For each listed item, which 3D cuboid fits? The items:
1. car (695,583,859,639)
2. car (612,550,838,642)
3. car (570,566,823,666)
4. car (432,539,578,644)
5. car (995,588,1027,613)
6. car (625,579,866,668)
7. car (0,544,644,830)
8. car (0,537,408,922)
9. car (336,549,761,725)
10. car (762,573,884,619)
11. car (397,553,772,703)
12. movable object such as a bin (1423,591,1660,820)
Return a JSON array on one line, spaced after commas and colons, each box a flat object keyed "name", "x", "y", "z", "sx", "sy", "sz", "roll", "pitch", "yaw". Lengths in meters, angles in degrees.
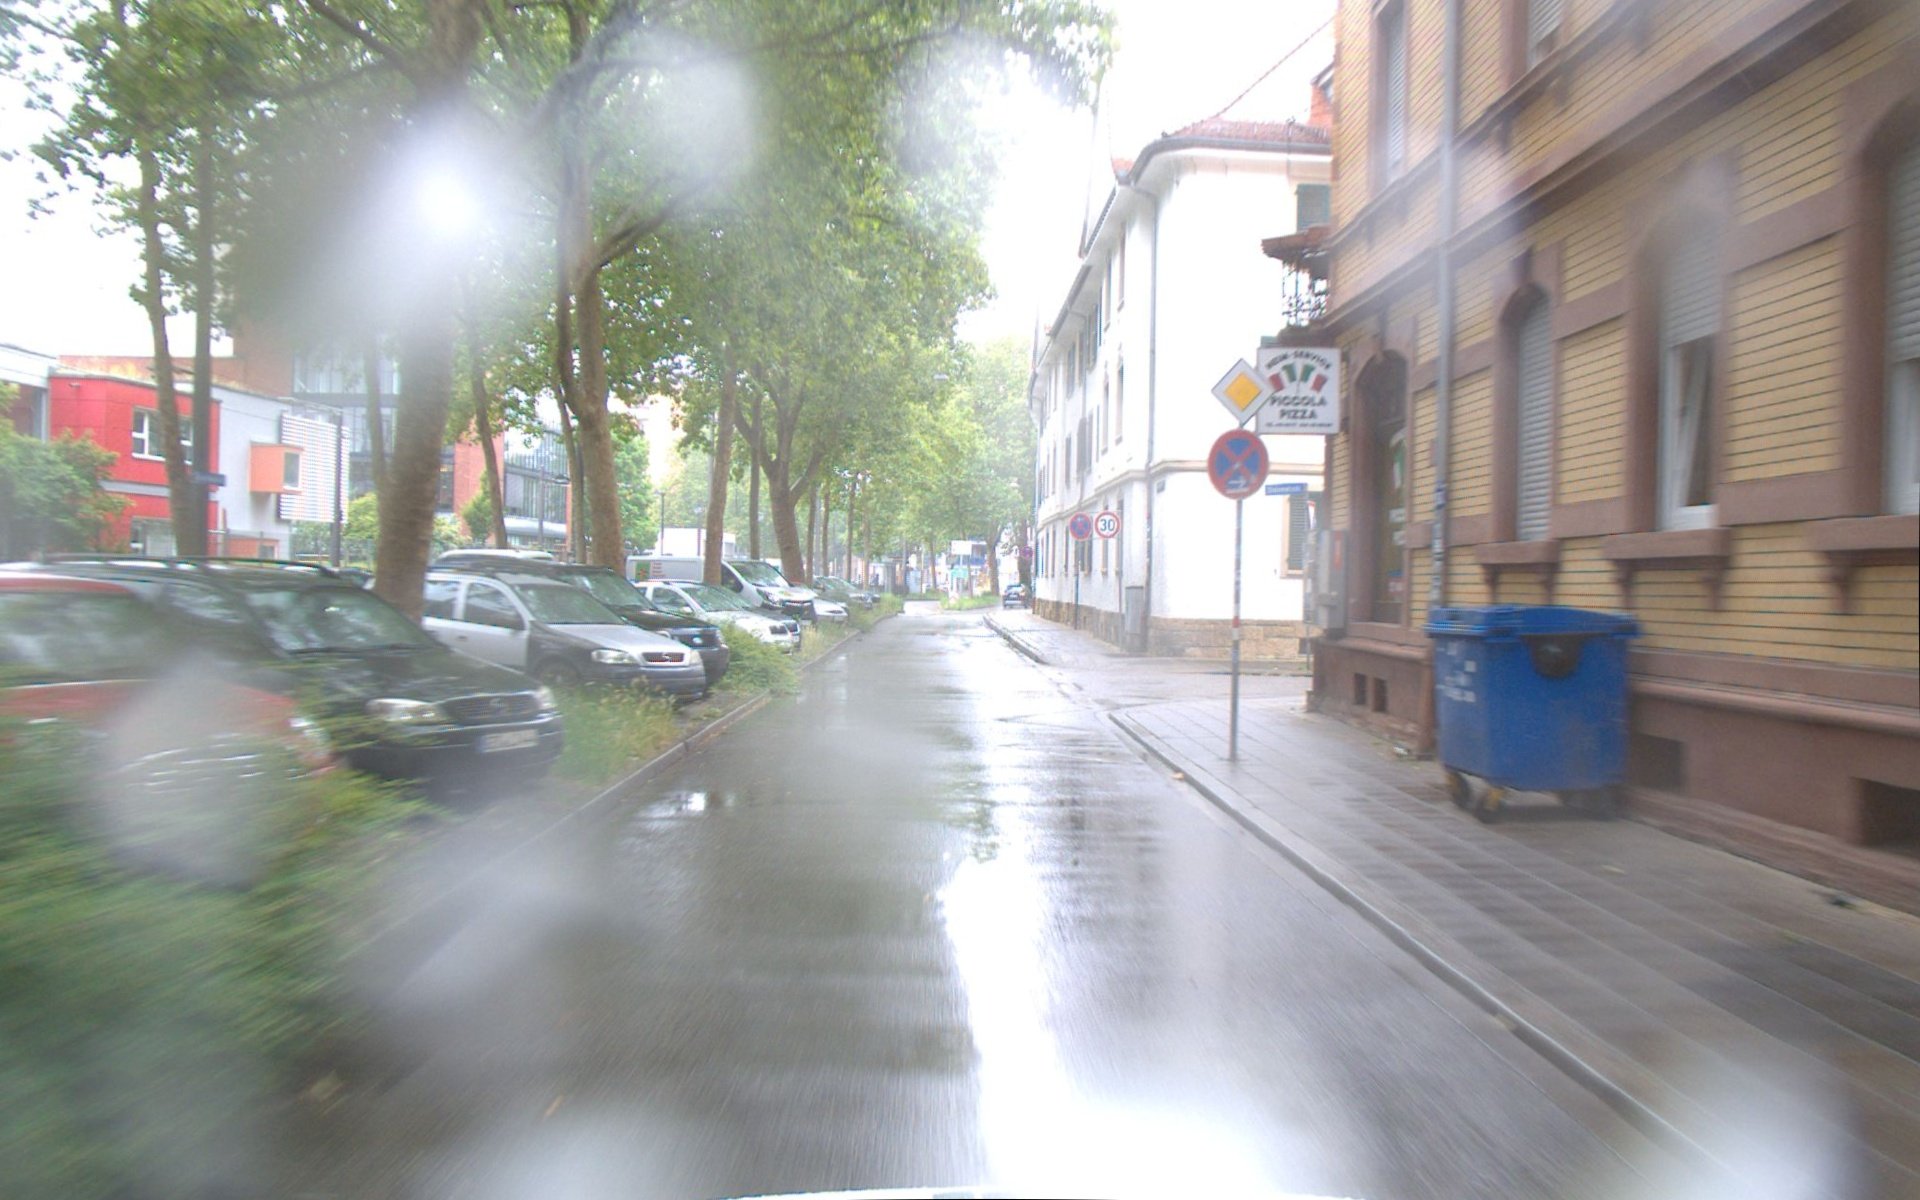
[{"name": "car", "x": -5.221, "y": 0.292, "z": 46.984, "sx": 4.460, "sy": 1.508, "sz": 1.772, "roll": 0, "pitch": 0, "yaw": 29}, {"name": "car", "x": -5.499, "y": -0.099, "z": 38.607, "sx": 5.019, "sy": 2.012, "sz": 2.099, "roll": 0, "pitch": 0, "yaw": 30}, {"name": "car", "x": -4.539, "y": 0.229, "z": 28.479, "sx": 3.974, "sy": 1.525, "sz": 1.747, "roll": 2, "pitch": 1, "yaw": 23}, {"name": "car", "x": -9.691, "y": -0.216, "z": 35.673, "sx": 1.997, "sy": 2.034, "sz": 5.156, "roll": 1, "pitch": 1, "yaw": -4}, {"name": "car", "x": 3.503, "y": 0.011, "z": 114.030, "sx": 1.953, "sy": 1.668, "sz": 3.999, "roll": 2, "pitch": 0, "yaw": -1}, {"name": "car", "x": -4.053, "y": 0.390, "z": 31.162, "sx": 4.218, "sy": 1.462, "sz": 1.746, "roll": 2, "pitch": 2, "yaw": 26}, {"name": "car", "x": -4.297, "y": 0.444, "z": 10.875, "sx": 4.135, "sy": 1.505, "sz": 1.742, "roll": 2, "pitch": 1, "yaw": 27}, {"name": "car", "x": -4.671, "y": 0.447, "z": 8.169, "sx": 3.574, "sy": 1.505, "sz": 1.741, "roll": 2, "pitch": 1, "yaw": 29}, {"name": "car", "x": -4.418, "y": 0.367, "z": 17.603, "sx": 4.321, "sy": 1.674, "sz": 1.868, "roll": -1, "pitch": 0, "yaw": 30}, {"name": "car", "x": -5.338, "y": -0.175, "z": 64.333, "sx": 4.370, "sy": 1.625, "sz": 1.922, "roll": 2, "pitch": 1, "yaw": 26}, {"name": "car", "x": -4.663, "y": 0.278, "z": 20.482, "sx": 4.318, "sy": 1.689, "sz": 1.928, "roll": 1, "pitch": 1, "yaw": 27}, {"name": "movable object such as a bin", "x": 3.742, "y": 0.640, "z": 10.773, "sx": 1.000, "sy": 1.324, "sz": 1.366, "roll": -2, "pitch": 1, "yaw": -1}]
